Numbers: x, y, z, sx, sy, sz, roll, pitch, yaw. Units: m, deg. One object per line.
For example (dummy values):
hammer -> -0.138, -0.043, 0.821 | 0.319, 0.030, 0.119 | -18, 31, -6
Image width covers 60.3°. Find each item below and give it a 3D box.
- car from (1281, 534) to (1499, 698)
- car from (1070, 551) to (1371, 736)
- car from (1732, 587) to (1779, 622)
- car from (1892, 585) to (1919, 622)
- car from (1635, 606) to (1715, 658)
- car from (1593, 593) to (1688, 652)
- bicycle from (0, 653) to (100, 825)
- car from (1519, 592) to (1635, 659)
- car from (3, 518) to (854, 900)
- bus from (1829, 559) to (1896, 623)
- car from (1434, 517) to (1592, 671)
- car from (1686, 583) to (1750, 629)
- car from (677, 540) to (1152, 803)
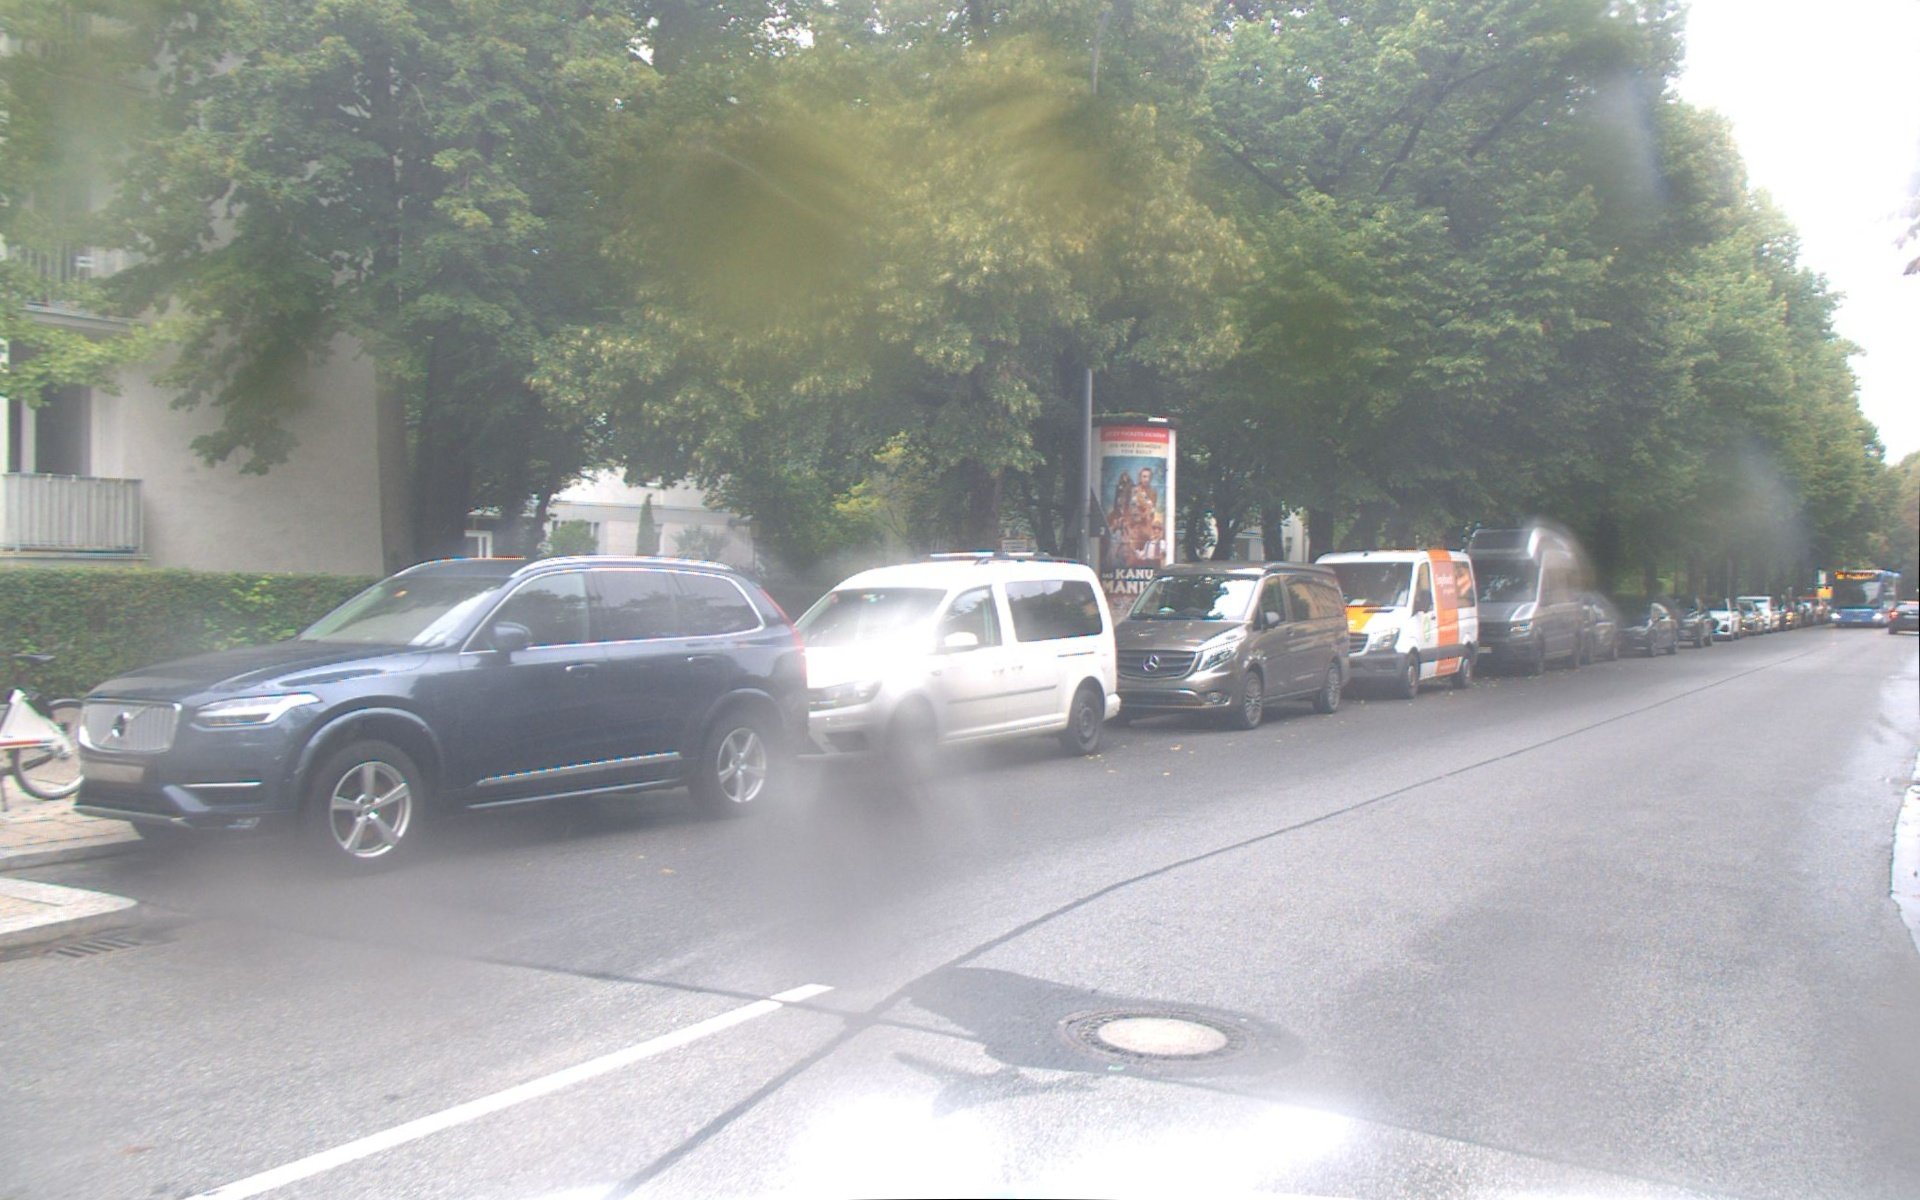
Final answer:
car -> 7.126, 0.255, 26.943 | 2.075, 2.390, 5.397 | 1, 0, 30
car -> 3.428, 0.451, 20.690 | 1.909, 1.998, 5.449 | 0, 0, 30
car -> 36.091, 0.202, 75.002 | 1.641, 1.495, 4.096 | 1, 0, 30
car -> 42.251, 0.153, 73.195 | 1.549, 1.611, 4.034 | 1, 0, 32
car -> 21.336, 0.935, 49.302 | 1.757, 1.479, 3.941 | 1, 0, 30
car -> 18.176, 0.584, 44.082 | 1.757, 1.463, 4.542 | 1, 0, 30
bicycle -> -6.121, 0.864, 10.254 | 0.456, 1.031, 1.419 | 1, 0, 23
car -> 14.941, 0.566, 39.914 | 1.758, 1.463, 4.567 | 0, 1, 32
car -> -2.945, 0.537, 10.426 | 1.847, 1.799, 5.042 | 1, 0, 34
bus -> 51.740, -0.381, 94.541 | 2.807, 3.296, 18.386 | 1, 0, 30
car -> 11.599, -0.083, 34.357 | 1.909, 2.904, 6.224 | 1, 0, 30
car -> 28.108, 0.204, 61.270 | 1.751, 1.625, 4.576 | 1, 0, 30
car -> -0.200, 0.520, 14.962 | 1.847, 1.971, 4.817 | 0, 0, 34
